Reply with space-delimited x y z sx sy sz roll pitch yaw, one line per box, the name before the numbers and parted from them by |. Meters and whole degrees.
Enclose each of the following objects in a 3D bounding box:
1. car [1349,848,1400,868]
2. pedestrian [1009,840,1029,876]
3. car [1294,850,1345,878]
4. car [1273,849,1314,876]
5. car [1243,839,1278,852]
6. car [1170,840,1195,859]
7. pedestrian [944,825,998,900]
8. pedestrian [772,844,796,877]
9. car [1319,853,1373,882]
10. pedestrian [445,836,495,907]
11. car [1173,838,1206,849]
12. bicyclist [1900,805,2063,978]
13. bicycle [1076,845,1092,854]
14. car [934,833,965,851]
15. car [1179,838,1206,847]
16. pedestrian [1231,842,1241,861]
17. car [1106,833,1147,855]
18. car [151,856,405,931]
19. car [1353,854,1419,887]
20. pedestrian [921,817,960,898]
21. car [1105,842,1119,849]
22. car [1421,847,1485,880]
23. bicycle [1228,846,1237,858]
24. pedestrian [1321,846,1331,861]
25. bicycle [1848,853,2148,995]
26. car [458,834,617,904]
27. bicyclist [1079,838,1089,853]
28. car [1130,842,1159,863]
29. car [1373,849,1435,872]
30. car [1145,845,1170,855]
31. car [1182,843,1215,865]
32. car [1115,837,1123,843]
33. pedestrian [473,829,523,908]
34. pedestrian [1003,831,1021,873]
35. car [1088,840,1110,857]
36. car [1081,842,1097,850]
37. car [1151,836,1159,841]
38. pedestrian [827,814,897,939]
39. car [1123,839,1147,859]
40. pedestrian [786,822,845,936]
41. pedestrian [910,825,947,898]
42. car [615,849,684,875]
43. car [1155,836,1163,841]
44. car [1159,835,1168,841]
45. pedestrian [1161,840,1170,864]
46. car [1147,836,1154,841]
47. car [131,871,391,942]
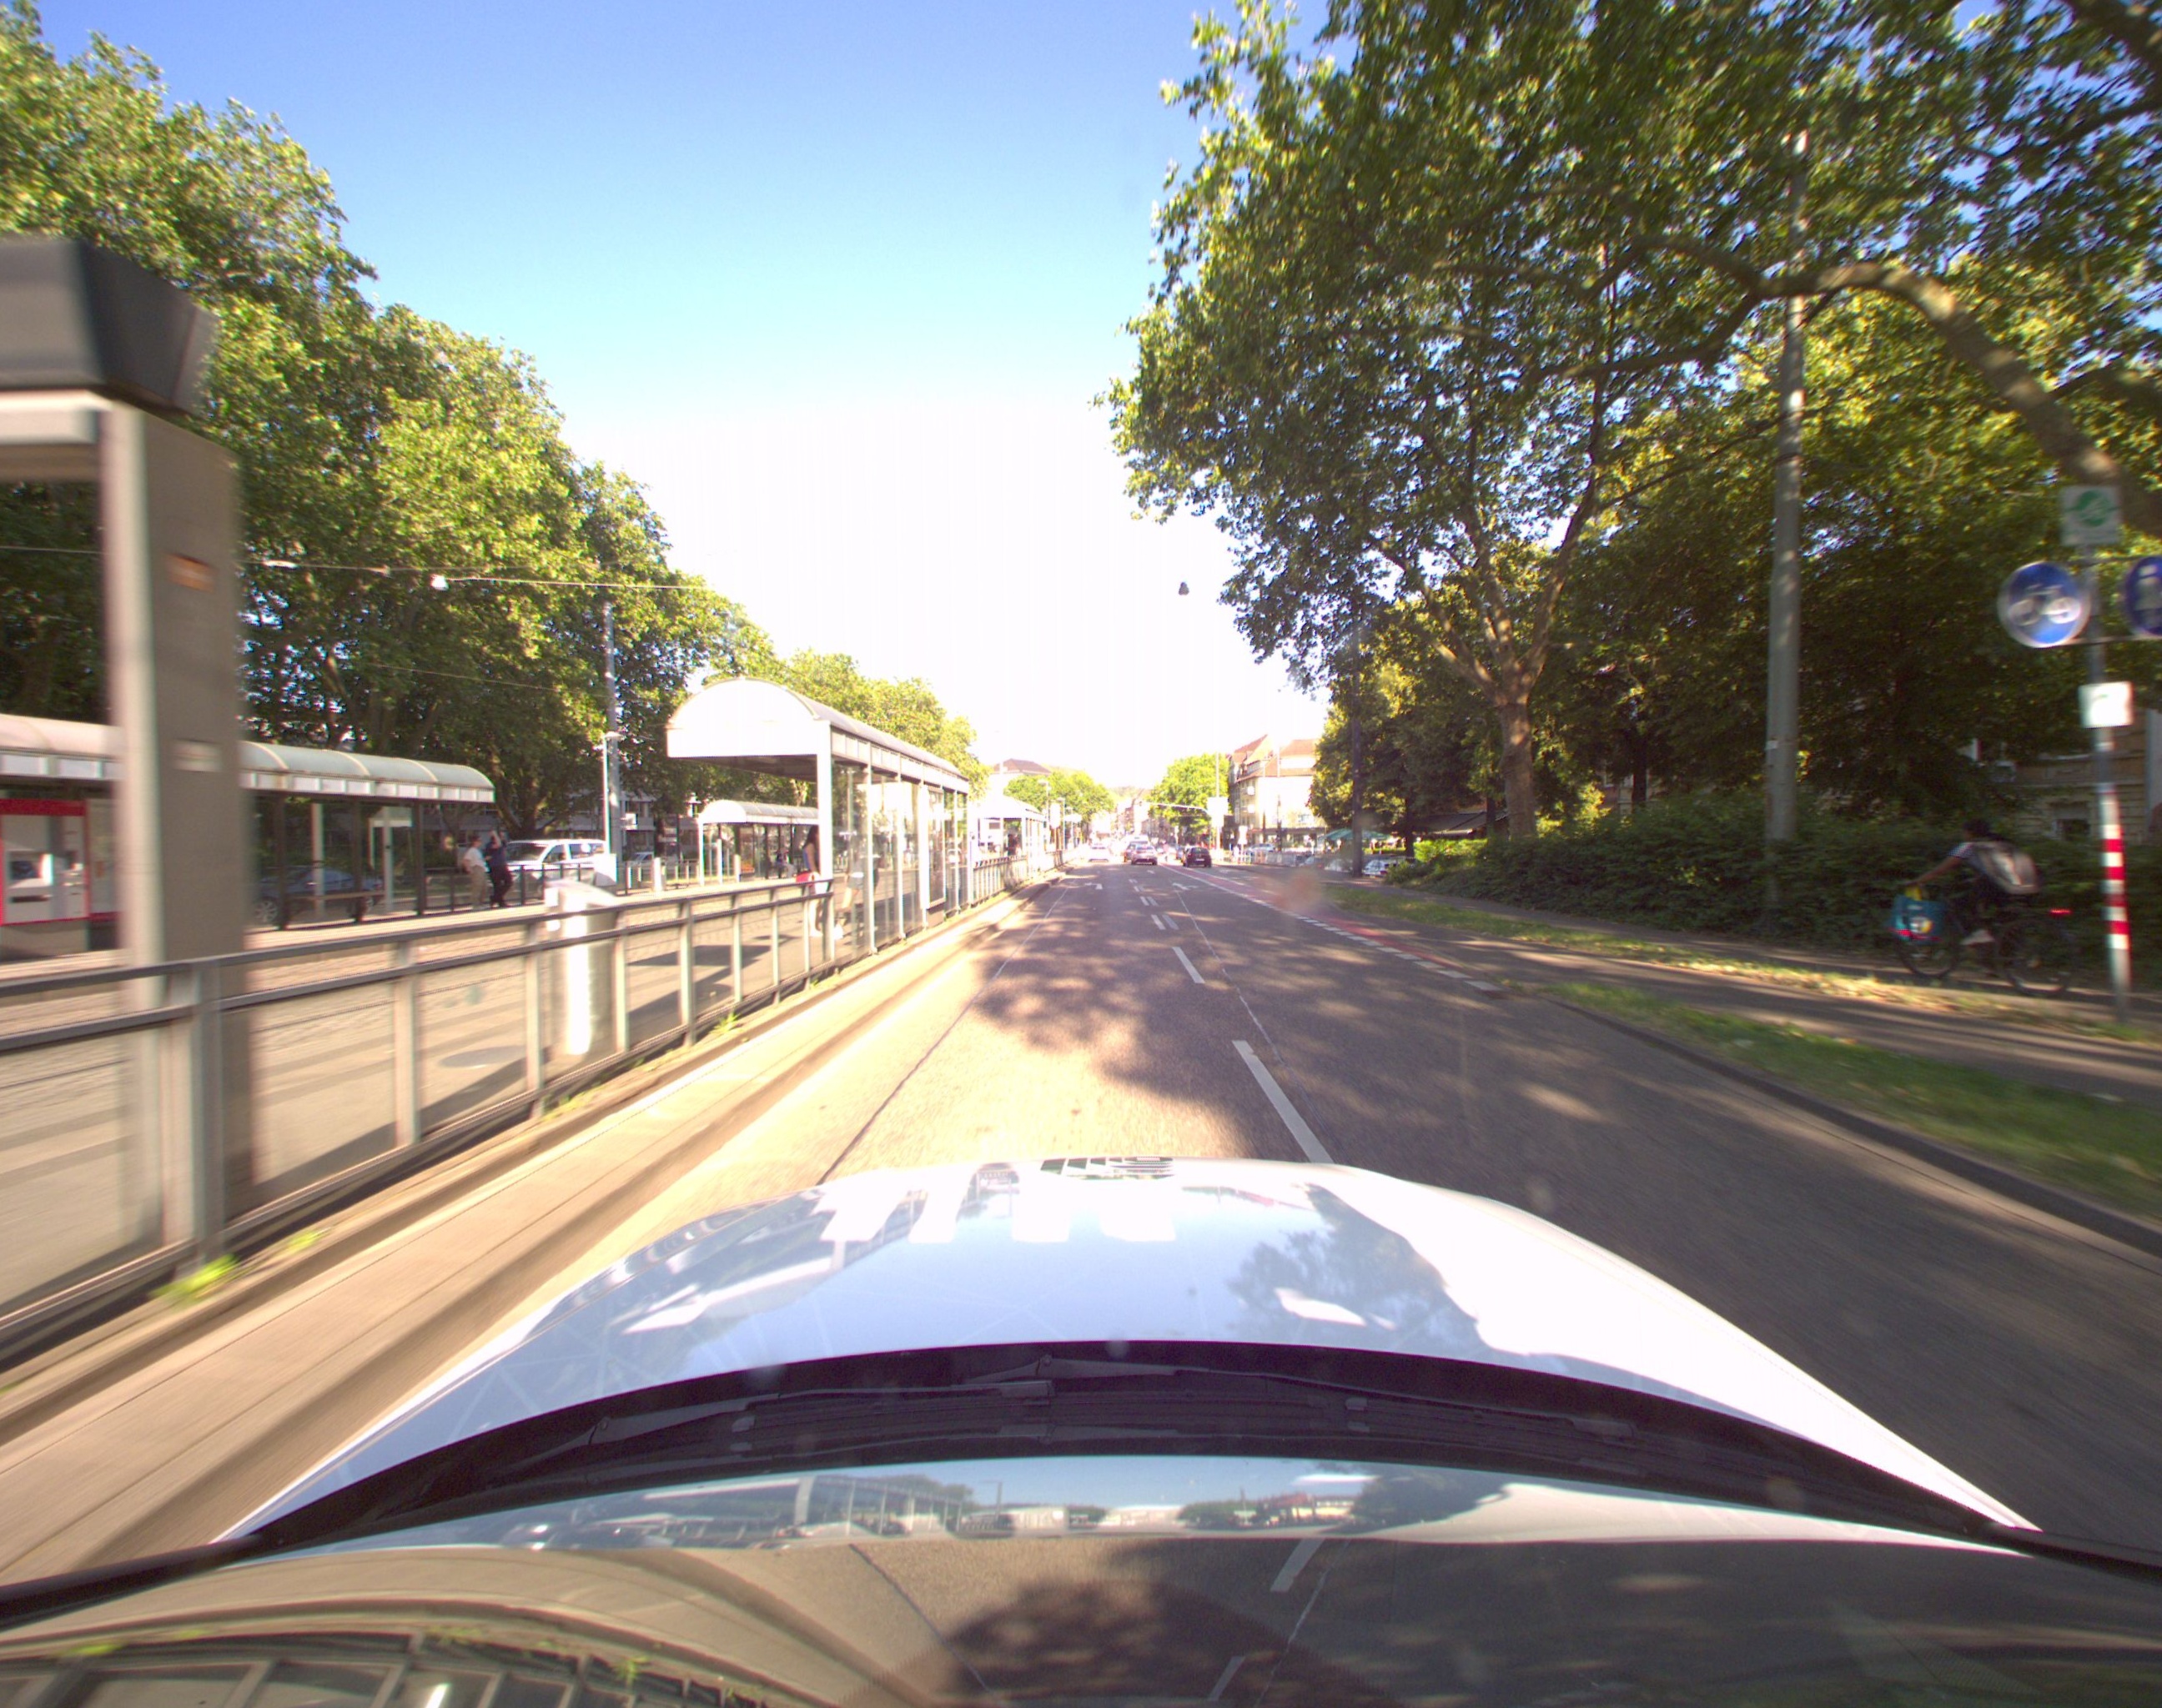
car | 22.871 0.259 63.462 4.018 1.348 1.760 -3 2 -36
pedestrian | -2.271 0.127 29.796 0.676 1.308 0.593 0 0 2
car | 15.684 0.633 53.818 1.791 1.803 4.203 0 0 -5
car | 15.519 0.568 59.678 1.789 1.898 4.358 0 0 -1
car | 22.541 -1.085 102.280 4.114 1.692 1.830 0 1 17
car | 8.894 -0.393 71.494 1.788 1.510 4.002 0 2 1
pedestrian | -2.460 0.168 18.278 0.792 1.634 0.872 2 1 39
pedestrian | -12.591 0.270 34.553 0.667 1.324 0.757 -4 0 0
car | 15.406 0.763 47.572 1.788 1.579 4.444 0 0 1
pedestrian | -13.452 0.381 17.943 0.590 1.544 0.627 0 0 2
car | 14.592 -1.407 109.457 3.948 1.510 1.811 0 1 38
bicyclist | 8.313 0.326 7.545 0.763 1.513 0.650 -2 1 1
bicycle | 0.299 -0.425 79.675 1.596 0.816 0.531 0 1 32
car | -24.903 -2.273 154.114 2.473 3.165 6.573 0 1 24
car | 18.156 -1.881 132.755 3.983 1.510 1.796 -1 1 -7
pedestrian | 12.672 -0.209 66.539 0.643 1.563 0.635 2 1 20
car | 5.696 -1.268 102.497 5.007 2.743 2.070 0 0 -5
car | -19.130 0.850 19.742 1.788 1.510 4.341 -3 0 0
car | 15.472 0.777 41.560 1.788 1.579 4.554 0 0 1
pedestrian | -3.231 0.072 18.727 0.647 1.841 0.712 1 0 11
car | 6.518 -1.784 171.869 1.779 1.510 4.020 -1 0 20
car | 22.468 0.524 49.184 4.018 1.734 1.780 -3 2 -36
bicycle | 13.418 -0.188 72.107 0.497 1.075 1.801 0 0 1
pedestrian | 22.180 -0.039 73.805 0.645 1.337 0.632 2 1 1
bicycle | 8.329 0.569 7.543 0.763 1.107 1.801 -2 1 1
car | -18.822 0.467 28.564 2.060 2.124 5.089 -3 0 0
bicyclist | 0.295 -0.829 79.670 0.792 1.414 0.531 0 1 32
car | 4.807 -0.151 62.053 1.922 1.472 4.857 0 1 1
car | 22.597 0.431 56.923 4.266 1.406 1.944 -3 2 -34
car | 9.641 -0.490 102.885 2.898 1.162 2.070 0 0 -5
car | 8.136 -0.027 56.657 1.793 1.438 4.047 1 1 1
car | 10.070 -3.773 216.767 1.788 1.510 4.000 -1 1 0
pedestrian | -13.346 0.334 18.663 0.645 1.772 0.651 0 0 4
pedestrian | -2.795 -0.076 33.063 0.592 1.677 0.590 0 0 6
car | 1.562 -0.463 70.865 1.802 1.452 4.001 0 1 1
car | 1.566 -1.629 157.899 1.707 1.510 3.899 -1 0 26
car | 20.674 -4.291 228.003 1.788 1.510 4.001 -1 1 1
pedestrian | -3.069 0.301 11.476 0.739 1.694 0.791 1 0 2
car | 4.580 -0.486 69.172 1.794 1.638 4.046 0 1 1
pedestrian | -3.745 0.337 11.526 0.585 1.567 0.650 1 0 2
pedestrian | -3.689 0.168 19.711 0.656 1.722 0.703 0 0 -34
car | -41.673 0.735 78.883 2.131 2.335 5.757 0 1 25
car | 21.188 -4.181 221.831 1.788 1.510 4.001 -1 1 1
car | 21.859 -4.218 215.289 2.097 1.776 4.343 -1 1 1
pedestrian | 6.690 -0.180 64.282 0.654 1.871 0.678 -1 1 1
car | 21.108 -4.623 247.242 1.788 1.522 4.001 -1 1 1
car | -19.138 1.153 19.353 1.764 1.292 4.315 -3 0 0
